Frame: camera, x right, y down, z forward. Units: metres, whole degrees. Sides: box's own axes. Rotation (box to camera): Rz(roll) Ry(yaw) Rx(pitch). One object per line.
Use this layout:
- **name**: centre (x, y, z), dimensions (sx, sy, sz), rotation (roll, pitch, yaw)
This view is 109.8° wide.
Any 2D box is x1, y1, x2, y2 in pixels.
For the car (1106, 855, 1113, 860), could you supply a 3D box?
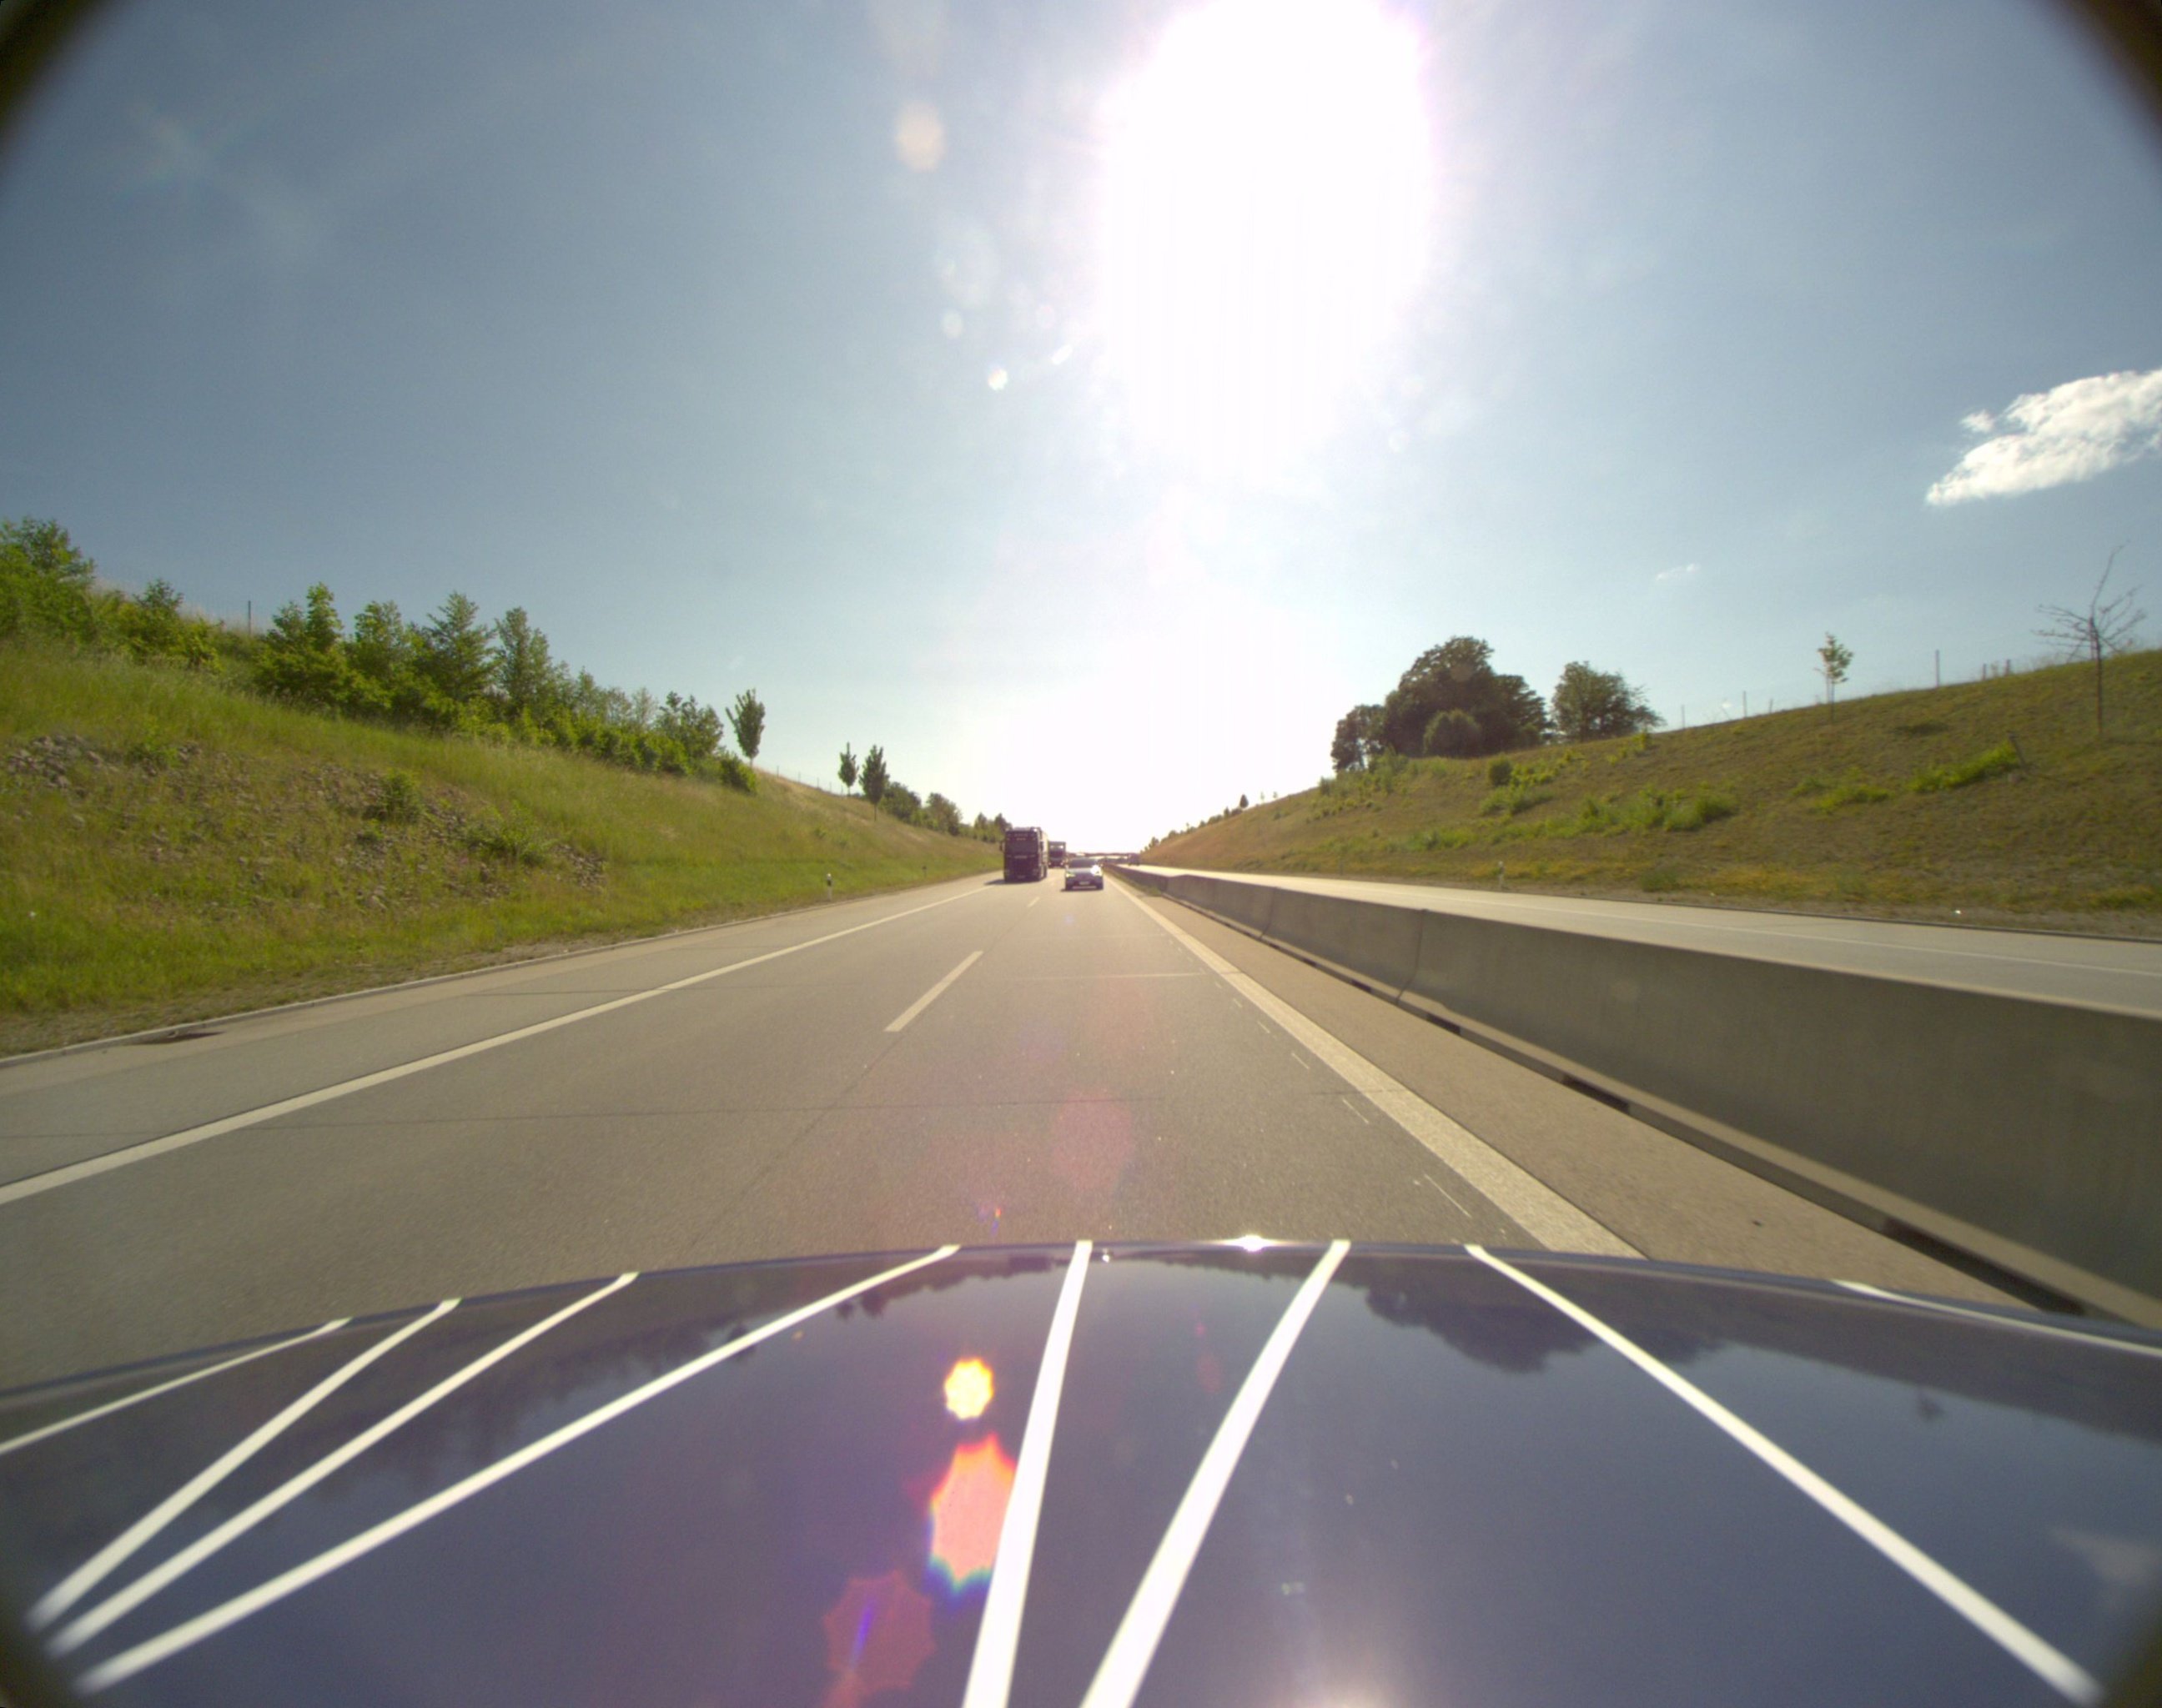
- **car**: centre (8.384, 1.032, 222.157), dimensions (1.778, 1.440, 4.183), rotation (0, 0, -2)

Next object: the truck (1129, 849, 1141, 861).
- **truck**: centre (11.105, 0.160, 157.514), dimensions (1.998, 2.434, 5.667), rotation (-1, 0, 0)

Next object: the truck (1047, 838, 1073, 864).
- **truck**: centre (-3.082, -0.458, 115.941), dimensions (3.024, 3.795, 13.404), rotation (1, 0, 2)

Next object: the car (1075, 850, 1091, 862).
- **car**: centre (0.362, 0.345, 144.893), dimensions (2.816, 2.143, 5.947), rotation (1, 0, 0)

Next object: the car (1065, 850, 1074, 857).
- **car**: centre (-2.521, -0.133, 165.405), dimensions (1.707, 1.433, 3.634), rotation (1, 0, -4)

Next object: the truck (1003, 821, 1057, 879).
- **truck**: centre (-3.650, -0.266, 57.655), dimensions (2.623, 3.795, 13.404), rotation (-2, 0, 2)

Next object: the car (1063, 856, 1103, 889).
- **car**: centre (0.154, 0.885, 37.552), dimensions (1.795, 1.501, 3.636), rotation (-1, 0, 3)
